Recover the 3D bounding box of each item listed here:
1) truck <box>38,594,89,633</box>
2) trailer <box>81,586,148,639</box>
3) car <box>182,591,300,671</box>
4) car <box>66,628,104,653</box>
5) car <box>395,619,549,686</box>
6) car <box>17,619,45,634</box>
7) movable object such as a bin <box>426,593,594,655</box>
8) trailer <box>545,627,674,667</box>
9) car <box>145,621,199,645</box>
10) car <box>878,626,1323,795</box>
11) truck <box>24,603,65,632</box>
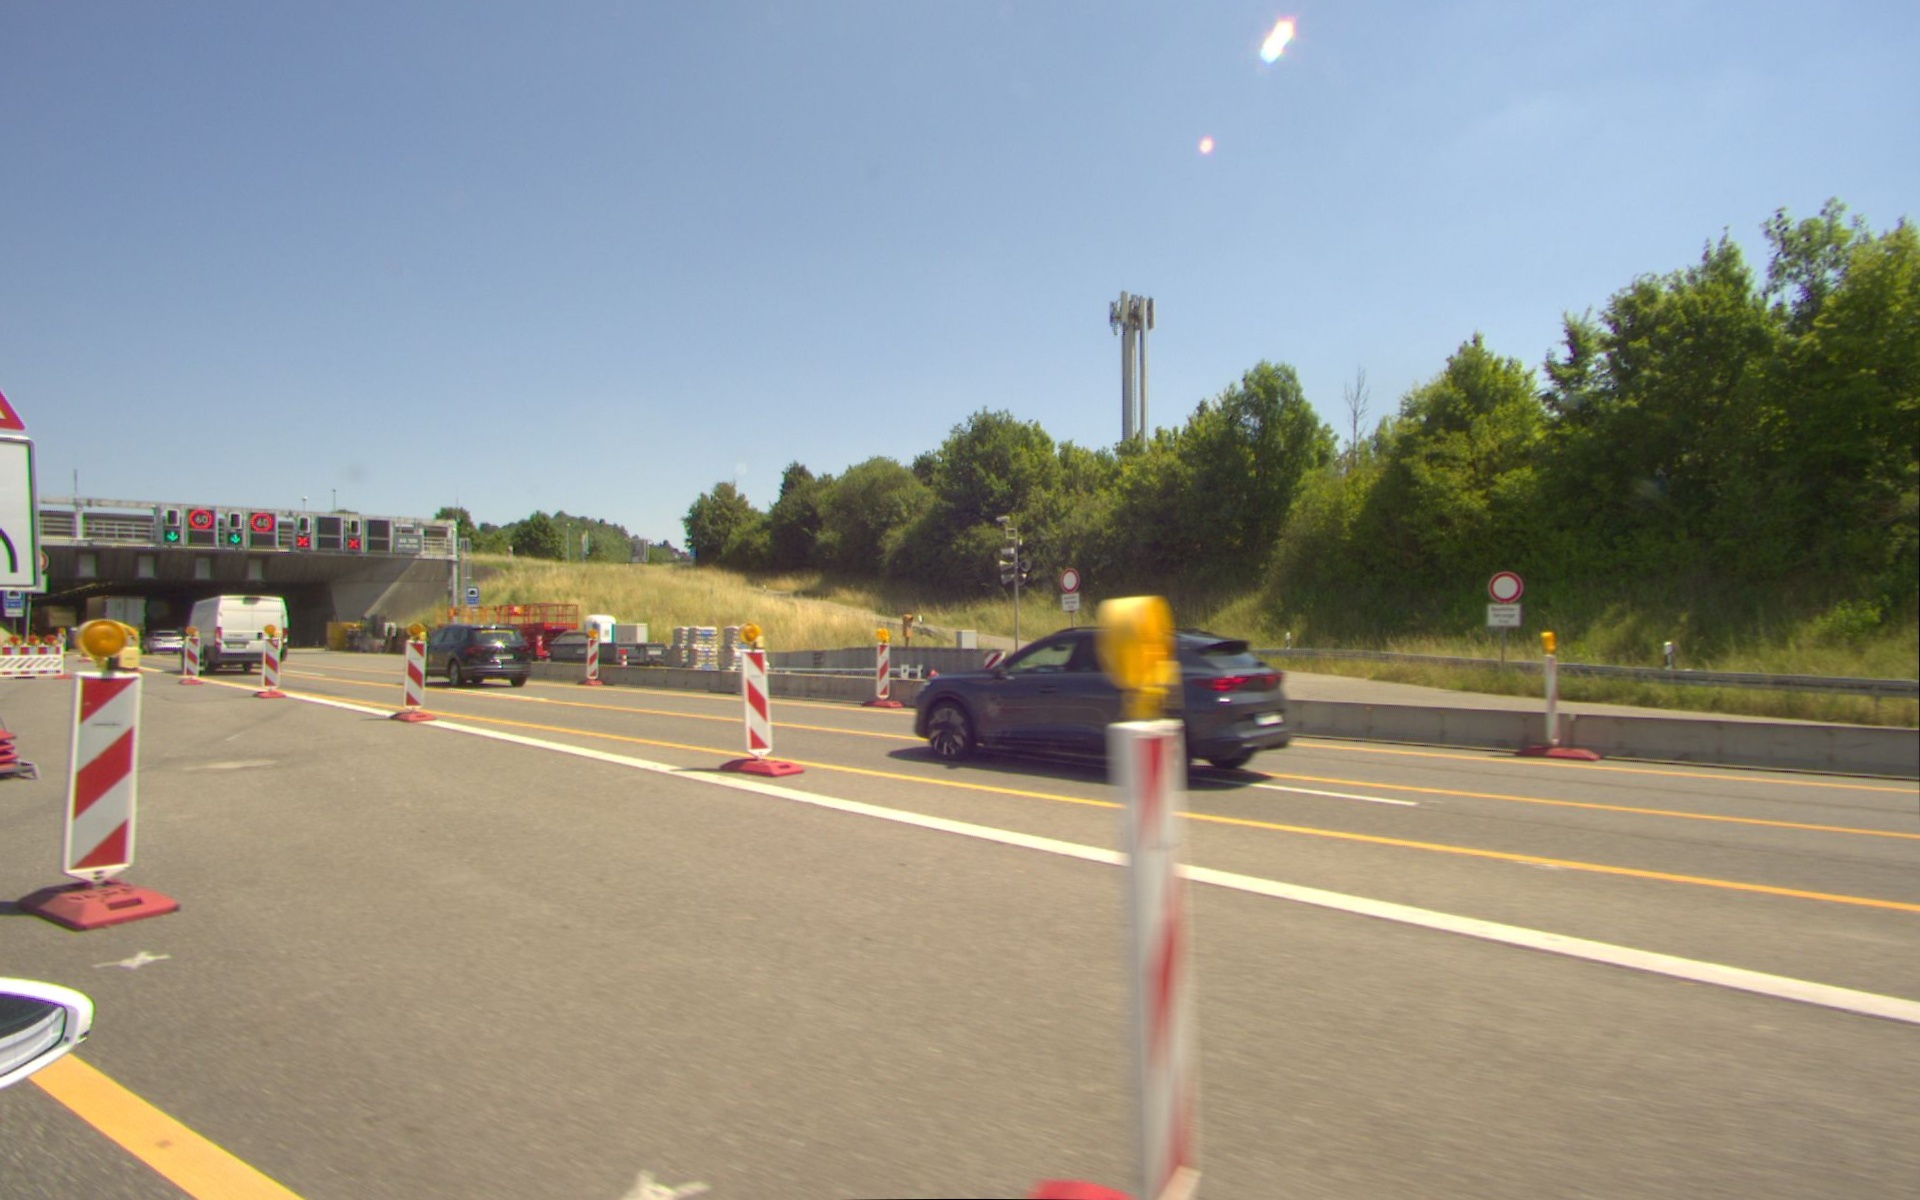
[{"bbox_3d":[-116.008,1.919,129.474,16.362,4.388,3.385,-3,-4,43],"label":"truck"},{"bbox_3d":[-71.294,1.192,84.283,13.946,4.113,2.718,-2,-3,43],"label":"trailer"},{"bbox_3d":[-25.384,1.114,35.240,6.517,2.568,2.253,-2,-2,44],"label":"car"},{"bbox_3d":[-60.384,2.787,69.095,1.803,1.663,4.609,2,-3,-43],"label":"car"},{"bbox_3d":[-13.462,1.404,27.455,5.179,1.683,2.009,-2,-2,42],"label":"car"},{"bbox_3d":[-106.967,3.100,115.257,4.141,1.650,1.808,-2,-3,40],"label":"car"},{"bbox_3d":[-25.475,1.388,55.949,14.543,3.050,3.094,-2,0,43],"label":"movable object such as a bin"},{"bbox_3d":[-15.698,2.050,44.672,6.160,1.589,2.584,-1,0,39],"label":"trailer"},{"bbox_3d":[-49.526,2.099,62.900,4.599,1.483,1.807,-2,-3,41],"label":"car"},{"bbox_3d":[1.404,1.062,11.211,4.623,1.505,1.985,-2,-2,41],"label":"car"},{"bbox_3d":[-144.438,2.829,157.929,16.360,4.122,3.384,-2,-3,43],"label":"truck"}]
